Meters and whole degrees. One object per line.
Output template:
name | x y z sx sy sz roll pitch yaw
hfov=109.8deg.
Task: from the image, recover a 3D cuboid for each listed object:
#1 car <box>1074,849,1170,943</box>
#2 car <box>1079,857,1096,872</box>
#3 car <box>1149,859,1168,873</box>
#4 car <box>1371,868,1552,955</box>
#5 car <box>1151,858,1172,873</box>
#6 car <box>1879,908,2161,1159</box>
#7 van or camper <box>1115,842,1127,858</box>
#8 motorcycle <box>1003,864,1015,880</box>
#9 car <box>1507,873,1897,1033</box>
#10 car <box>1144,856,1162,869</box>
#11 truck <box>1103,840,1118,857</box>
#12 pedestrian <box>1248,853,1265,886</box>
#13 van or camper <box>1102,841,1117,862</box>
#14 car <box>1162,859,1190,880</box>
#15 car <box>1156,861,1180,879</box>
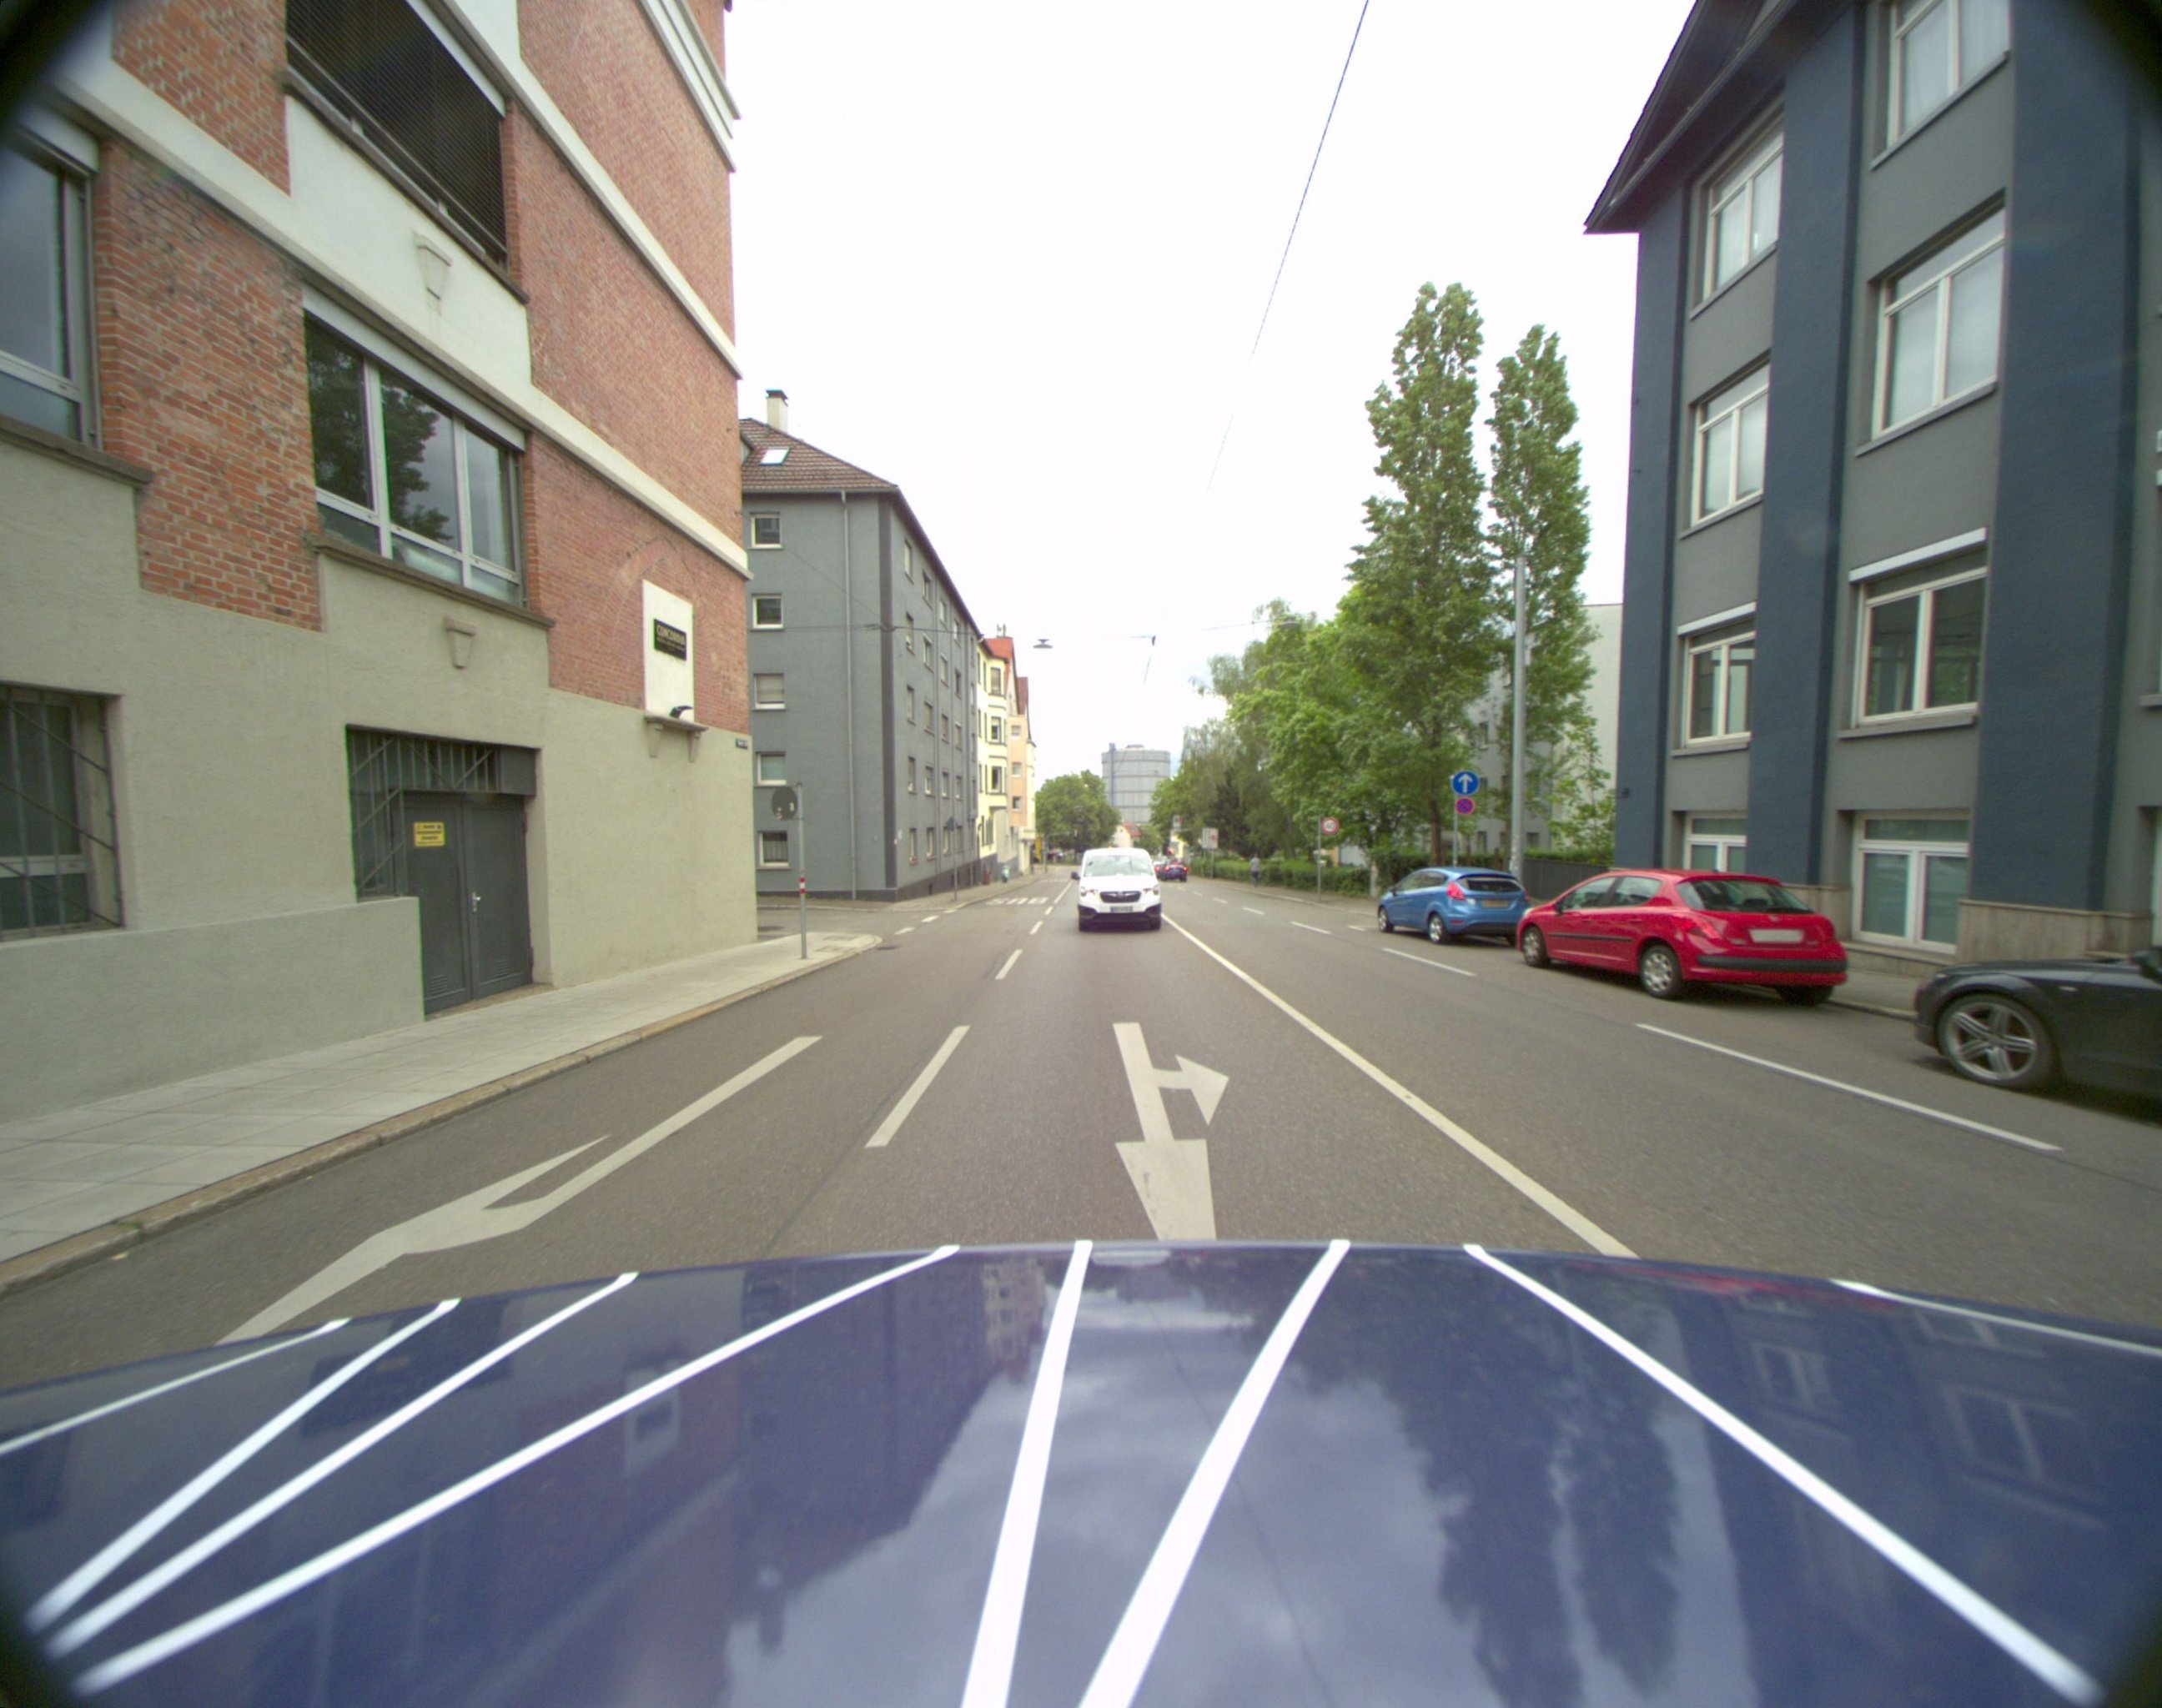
car | 0.868 0.831 17.464 1.840 1.797 4.939 -2 0 1
car | 0.747 1.133 82.796 1.724 1.486 3.728 1 0 2
car | 7.977 1.190 78.681 1.724 1.408 3.728 1 0 2
car | 7.367 1.044 15.162 1.724 1.445 3.727 1 0 0
car | 7.649 1.066 72.817 1.724 1.408 3.728 1 0 2
car | 7.029 1.102 3.852 1.724 1.319 4.041 2 0 1
van or camper | 7.065 -0.776 134.967 1.914 2.754 5.925 1 0 2
motorcycle | -5.107 1.266 53.780 0.566 1.105 1.653 4 0 2
car | 7.362 1.049 9.620 1.819 1.465 3.869 2 0 2
car | 8.085 0.939 85.331 1.724 1.408 3.728 1 0 2
truck | 6.233 -1.096 162.283 2.980 3.394 9.358 -2 0 1
pedestrian | 9.935 0.895 42.976 0.746 1.839 0.776 -1 0 2
van or camper | 3.961 -0.364 105.234 1.914 2.754 5.925 1 0 2
car | 7.202 1.153 57.792 1.724 1.475 3.728 1 0 2
car | 7.451 1.363 65.385 1.724 1.408 3.728 1 0 2
